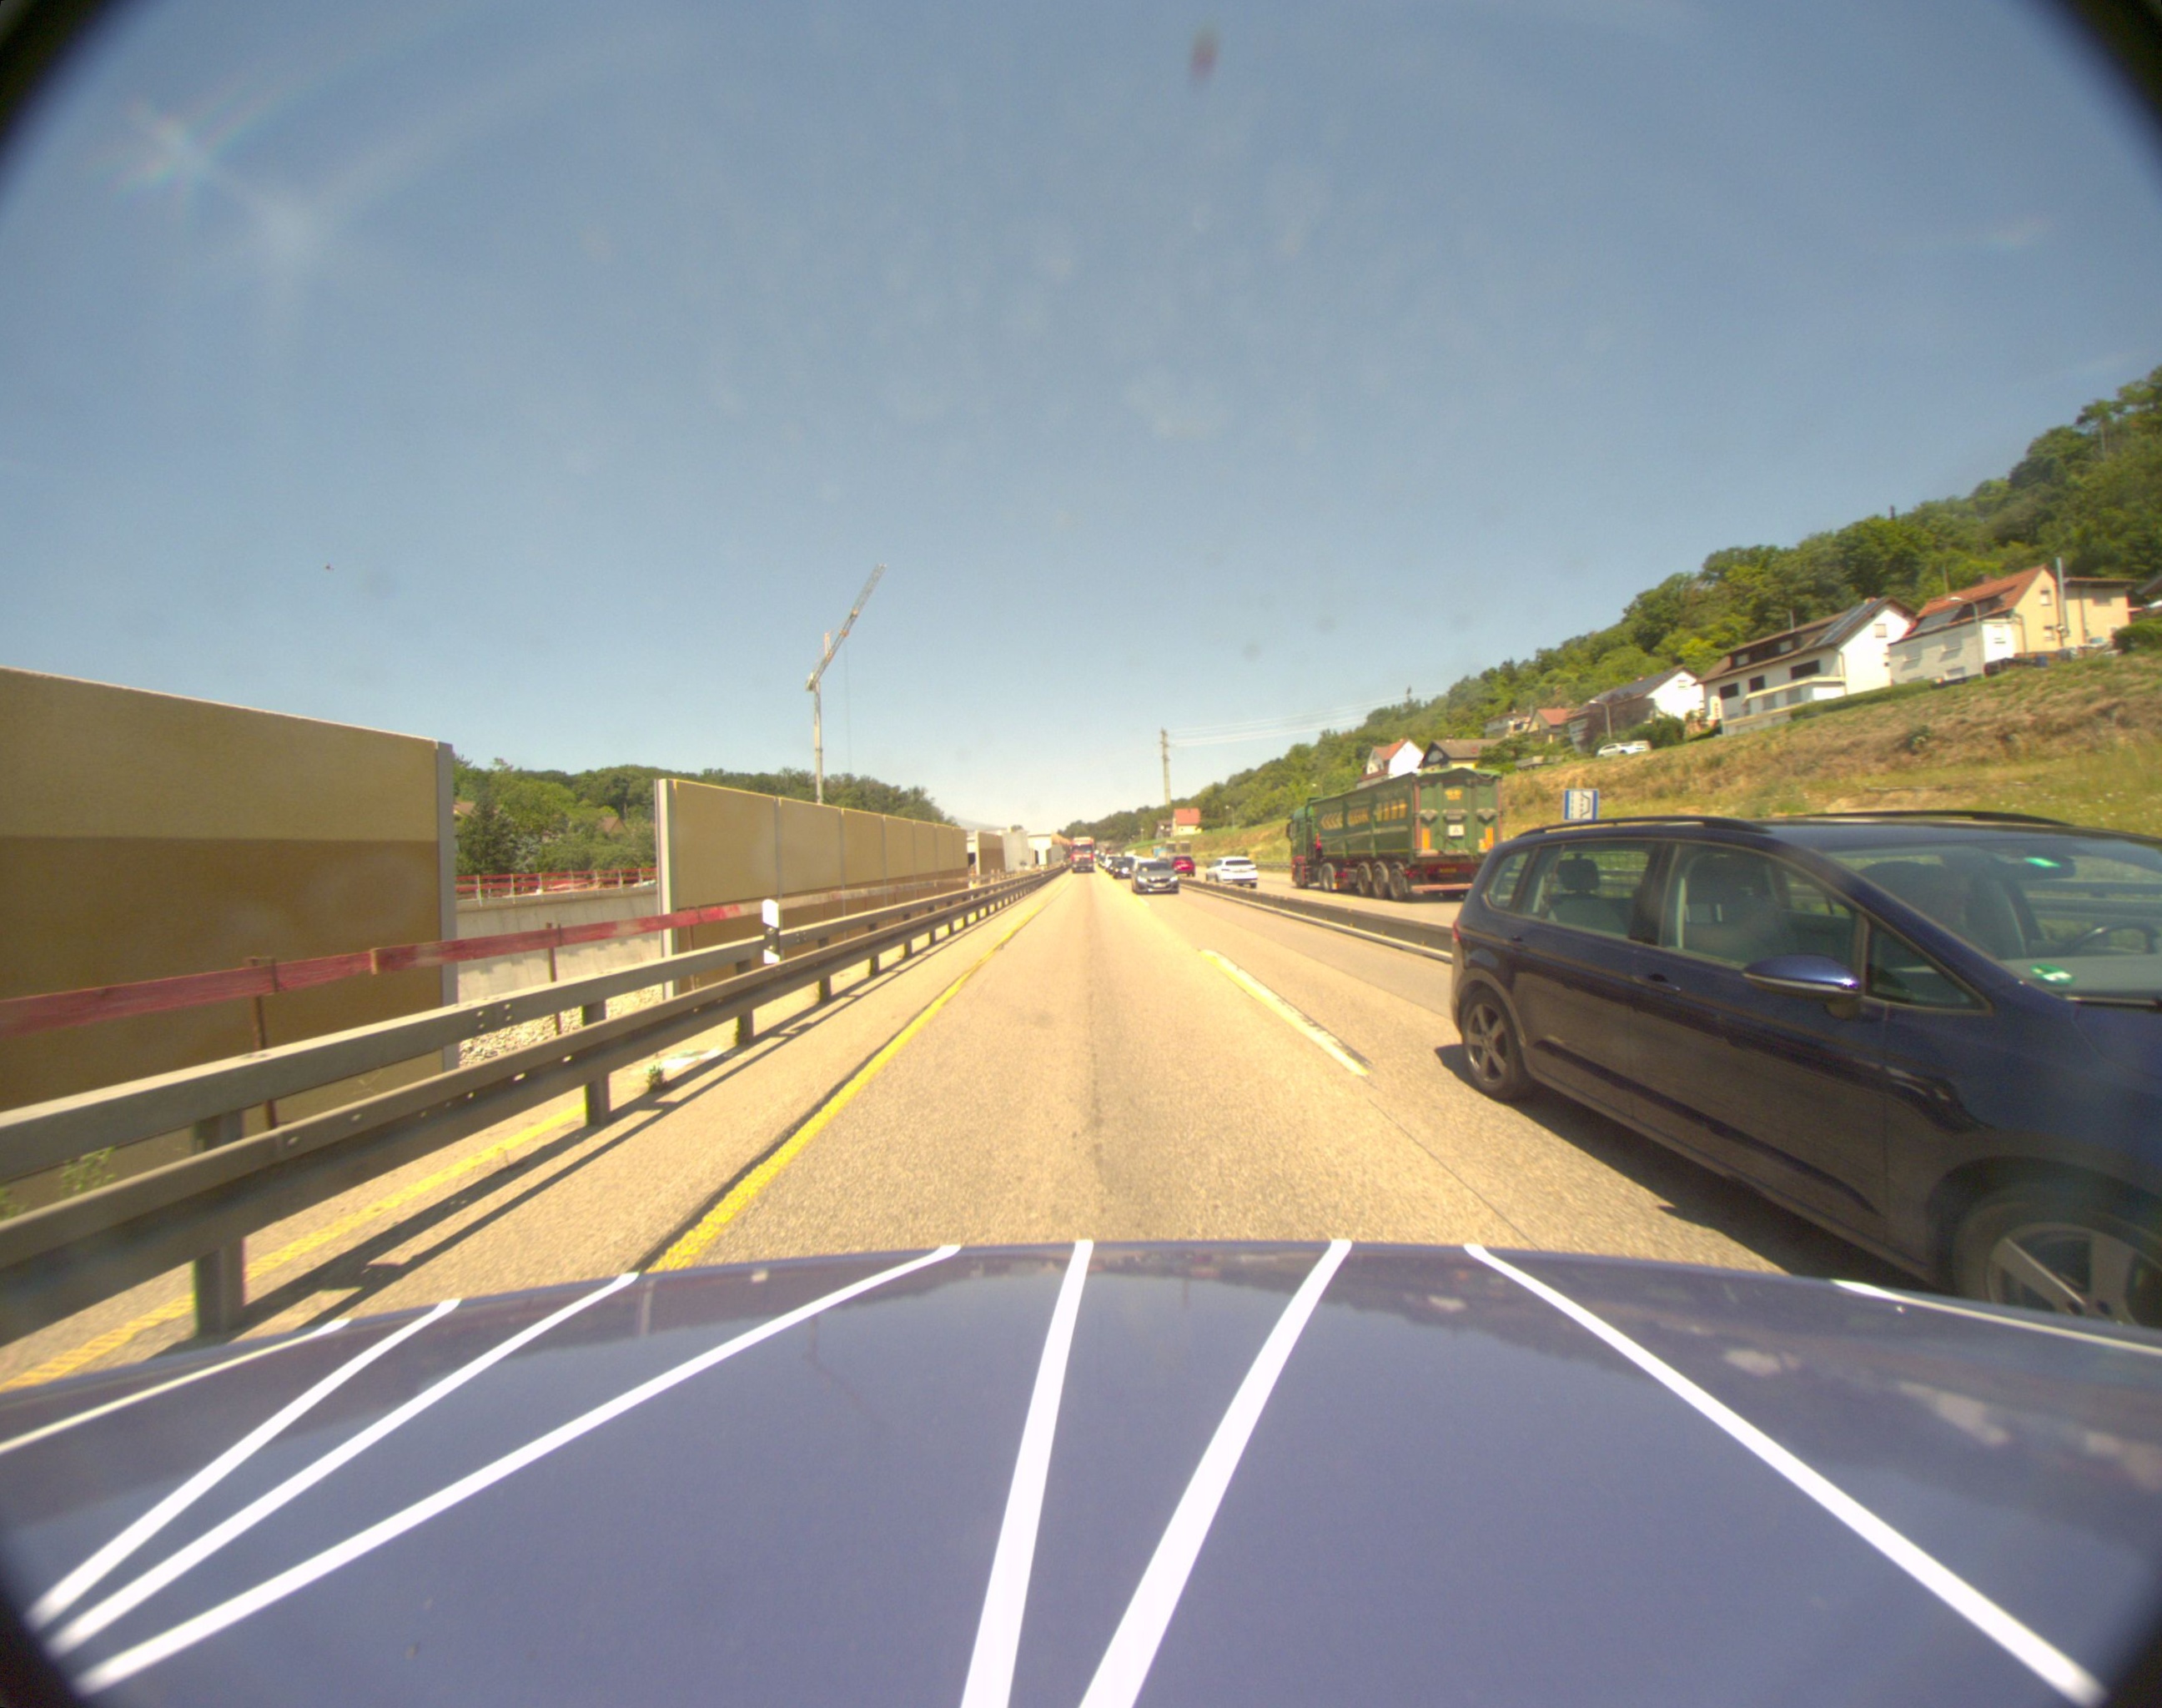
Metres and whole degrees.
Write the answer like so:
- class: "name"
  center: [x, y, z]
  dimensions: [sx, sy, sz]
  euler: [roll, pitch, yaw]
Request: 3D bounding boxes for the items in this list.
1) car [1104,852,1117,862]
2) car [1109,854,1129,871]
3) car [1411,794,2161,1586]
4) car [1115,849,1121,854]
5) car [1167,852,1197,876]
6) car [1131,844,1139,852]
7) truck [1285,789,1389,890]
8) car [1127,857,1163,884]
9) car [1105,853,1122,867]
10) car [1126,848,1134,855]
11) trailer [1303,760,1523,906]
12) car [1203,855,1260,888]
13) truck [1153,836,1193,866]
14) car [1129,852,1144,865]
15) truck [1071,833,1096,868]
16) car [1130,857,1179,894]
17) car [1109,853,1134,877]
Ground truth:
- class: "car"
  center: [4.269, 0.437, 112.157]
  dimensions: [1.780, 1.486, 4.336]
  euler: [-2, 0, 1]
- class: "car"
  center: [3.618, 0.820, 73.041]
  dimensions: [1.780, 1.486, 4.336]
  euler: [-2, 0, 1]
- class: "car"
  center: [3.212, 0.710, 3.027]
  dimensions: [1.780, 1.708, 4.652]
  euler: [-2, 0, 1]
- class: "car"
  center: [12.515, -0.918, 255.171]
  dimensions: [1.679, 1.686, 4.044]
  euler: [-2, 0, 0]
- class: "car"
  center: [7.708, 0.744, 58.297]
  dimensions: [1.816, 1.706, 4.045]
  euler: [-2, 0, 1]
- class: "car"
  center: [15.522, -1.819, 218.446]
  dimensions: [1.679, 2.203, 4.044]
  euler: [-2, 0, 0]
- class: "truck"
  center: [10.700, -0.575, 32.168]
  dimensions: [2.902, 3.915, 4.178]
  euler: [-2, 0, 0]
- class: "car"
  center: [3.631, 0.927, 43.737]
  dimensions: [1.780, 1.447, 4.336]
  euler: [-2, 0, 1]
- class: "car"
  center: [3.692, 0.709, 86.453]
  dimensions: [1.780, 1.486, 4.336]
  euler: [-2, 0, 1]
- class: "car"
  center: [12.111, -0.536, 187.524]
  dimensions: [1.679, 1.615, 4.044]
  euler: [-2, 0, 0]
- class: "trailer"
  center: [10.669, -0.571, 26.139]
  dimensions: [2.920, 3.915, 10.526]
  euler: [-2, 0, 0]
- class: "car"
  center: [7.101, 0.785, 36.223]
  dimensions: [1.777, 1.461, 4.440]
  euler: [-2, 0, 0]
- class: "truck"
  center: [10.892, -0.300, 92.073]
  dimensions: [2.770, 3.303, 15.935]
  euler: [-2, 0, 0]
- class: "car"
  center: [7.397, 0.606, 101.978]
  dimensions: [1.679, 1.706, 4.044]
  euler: [-2, 0, 0]
- class: "truck"
  center: [0.356, -0.310, 88.269]
  dimensions: [2.605, 3.704, 10.537]
  euler: [-2, 0, 1]
- class: "car"
  center: [3.146, 0.911, 33.193]
  dimensions: [1.780, 1.447, 4.336]
  euler: [-2, 0, 1]
- class: "car"
  center: [3.082, 0.802, 58.430]
  dimensions: [1.780, 1.727, 4.336]
  euler: [-2, 0, 1]
